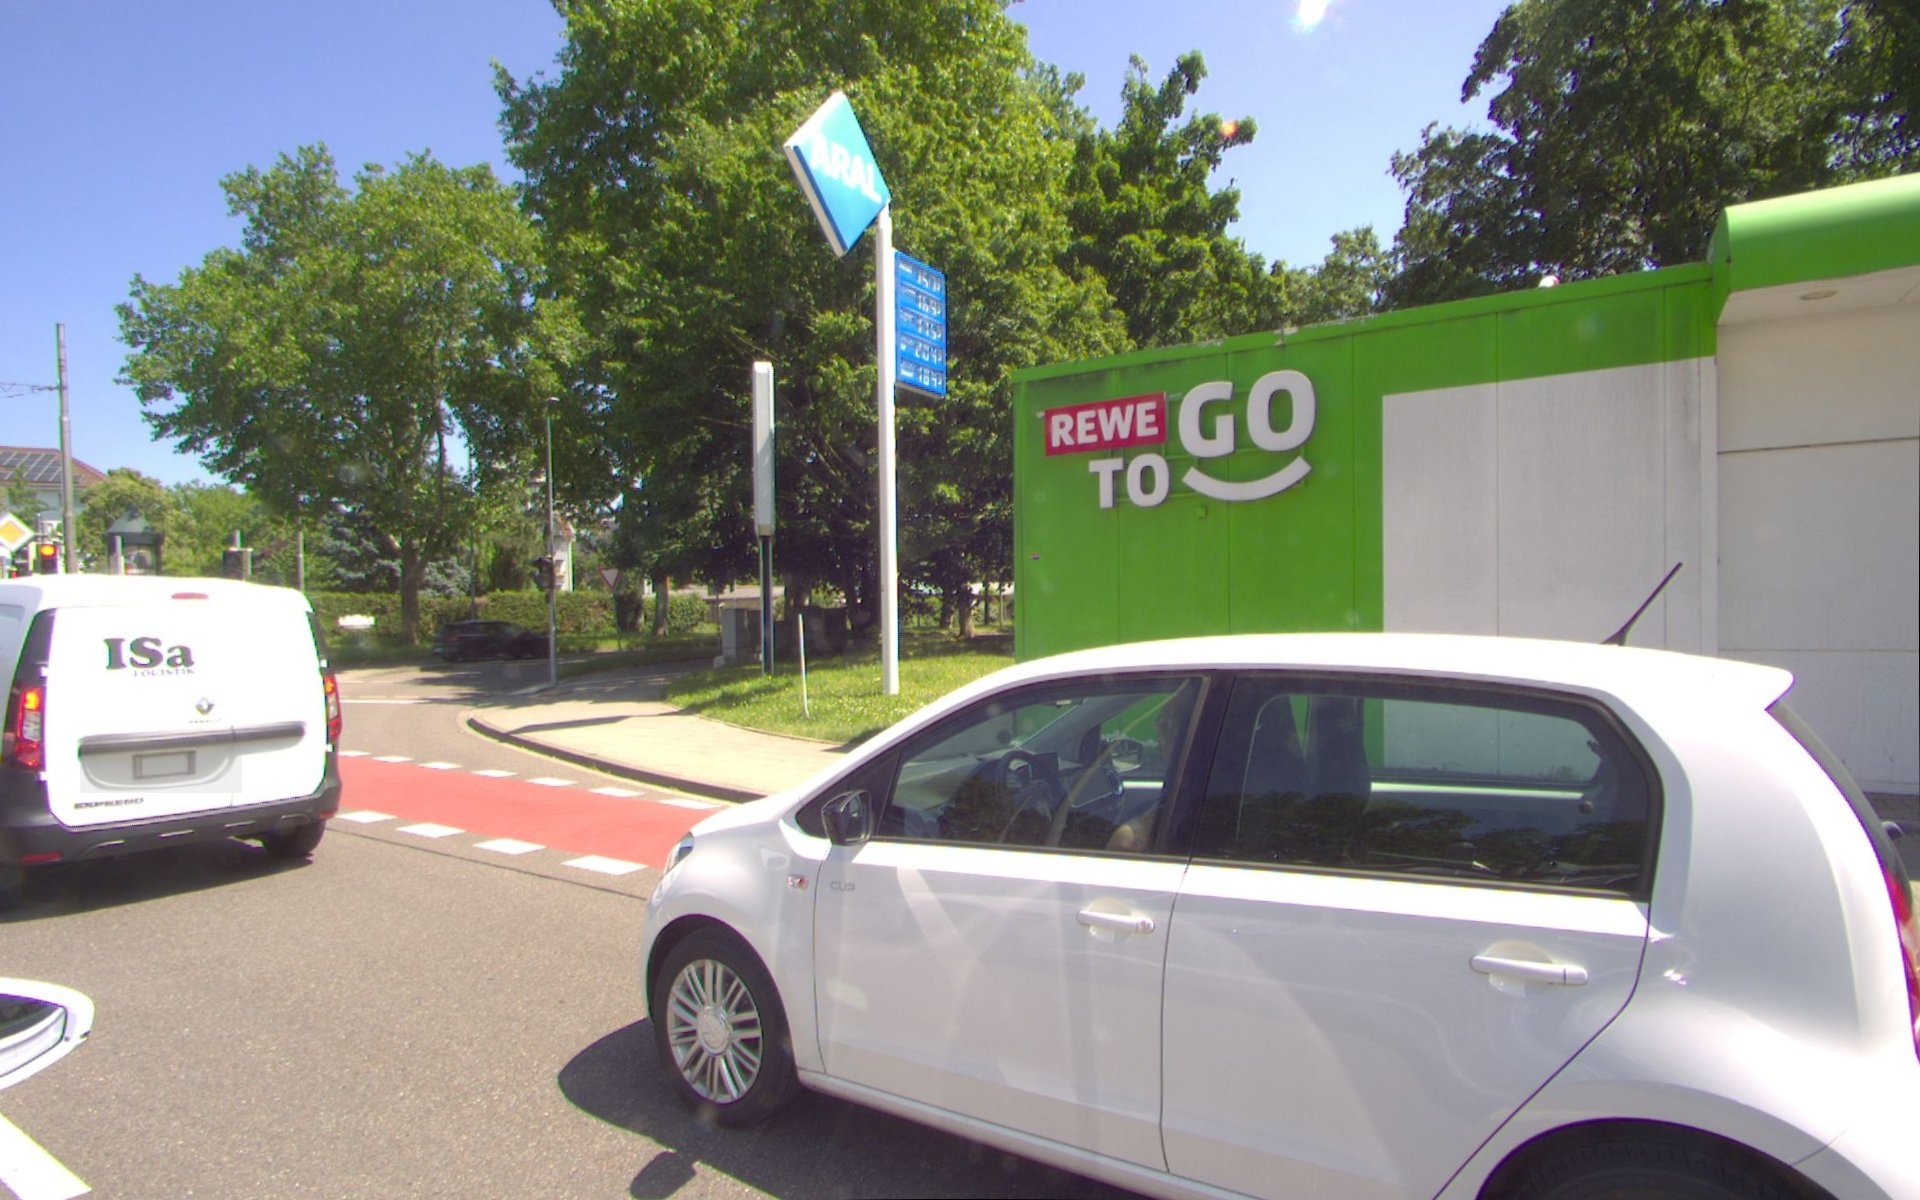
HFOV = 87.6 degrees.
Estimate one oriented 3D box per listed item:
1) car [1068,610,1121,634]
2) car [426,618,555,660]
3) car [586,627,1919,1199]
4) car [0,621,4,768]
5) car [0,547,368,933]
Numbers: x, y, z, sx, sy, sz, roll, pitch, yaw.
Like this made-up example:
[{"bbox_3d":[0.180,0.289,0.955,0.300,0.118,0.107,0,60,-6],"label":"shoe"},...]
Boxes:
[{"bbox_3d":[9.499,1.535,70.669,1.976,1.617,3.970,-1,-1,39],"label":"car"},{"bbox_3d":[-16.897,1.365,36.151,1.677,1.329,3.852,-1,1,40],"label":"car"},{"bbox_3d":[0.651,0.832,3.008,3.472,1.470,1.603,-1,0,34],"label":"car"},{"bbox_3d":[-11.945,0.973,10.596,3.943,1.505,1.753,-1,-2,33],"label":"car"},{"bbox_3d":[-5.842,0.715,6.576,3.954,1.854,1.708,-1,-1,31],"label":"car"}]
